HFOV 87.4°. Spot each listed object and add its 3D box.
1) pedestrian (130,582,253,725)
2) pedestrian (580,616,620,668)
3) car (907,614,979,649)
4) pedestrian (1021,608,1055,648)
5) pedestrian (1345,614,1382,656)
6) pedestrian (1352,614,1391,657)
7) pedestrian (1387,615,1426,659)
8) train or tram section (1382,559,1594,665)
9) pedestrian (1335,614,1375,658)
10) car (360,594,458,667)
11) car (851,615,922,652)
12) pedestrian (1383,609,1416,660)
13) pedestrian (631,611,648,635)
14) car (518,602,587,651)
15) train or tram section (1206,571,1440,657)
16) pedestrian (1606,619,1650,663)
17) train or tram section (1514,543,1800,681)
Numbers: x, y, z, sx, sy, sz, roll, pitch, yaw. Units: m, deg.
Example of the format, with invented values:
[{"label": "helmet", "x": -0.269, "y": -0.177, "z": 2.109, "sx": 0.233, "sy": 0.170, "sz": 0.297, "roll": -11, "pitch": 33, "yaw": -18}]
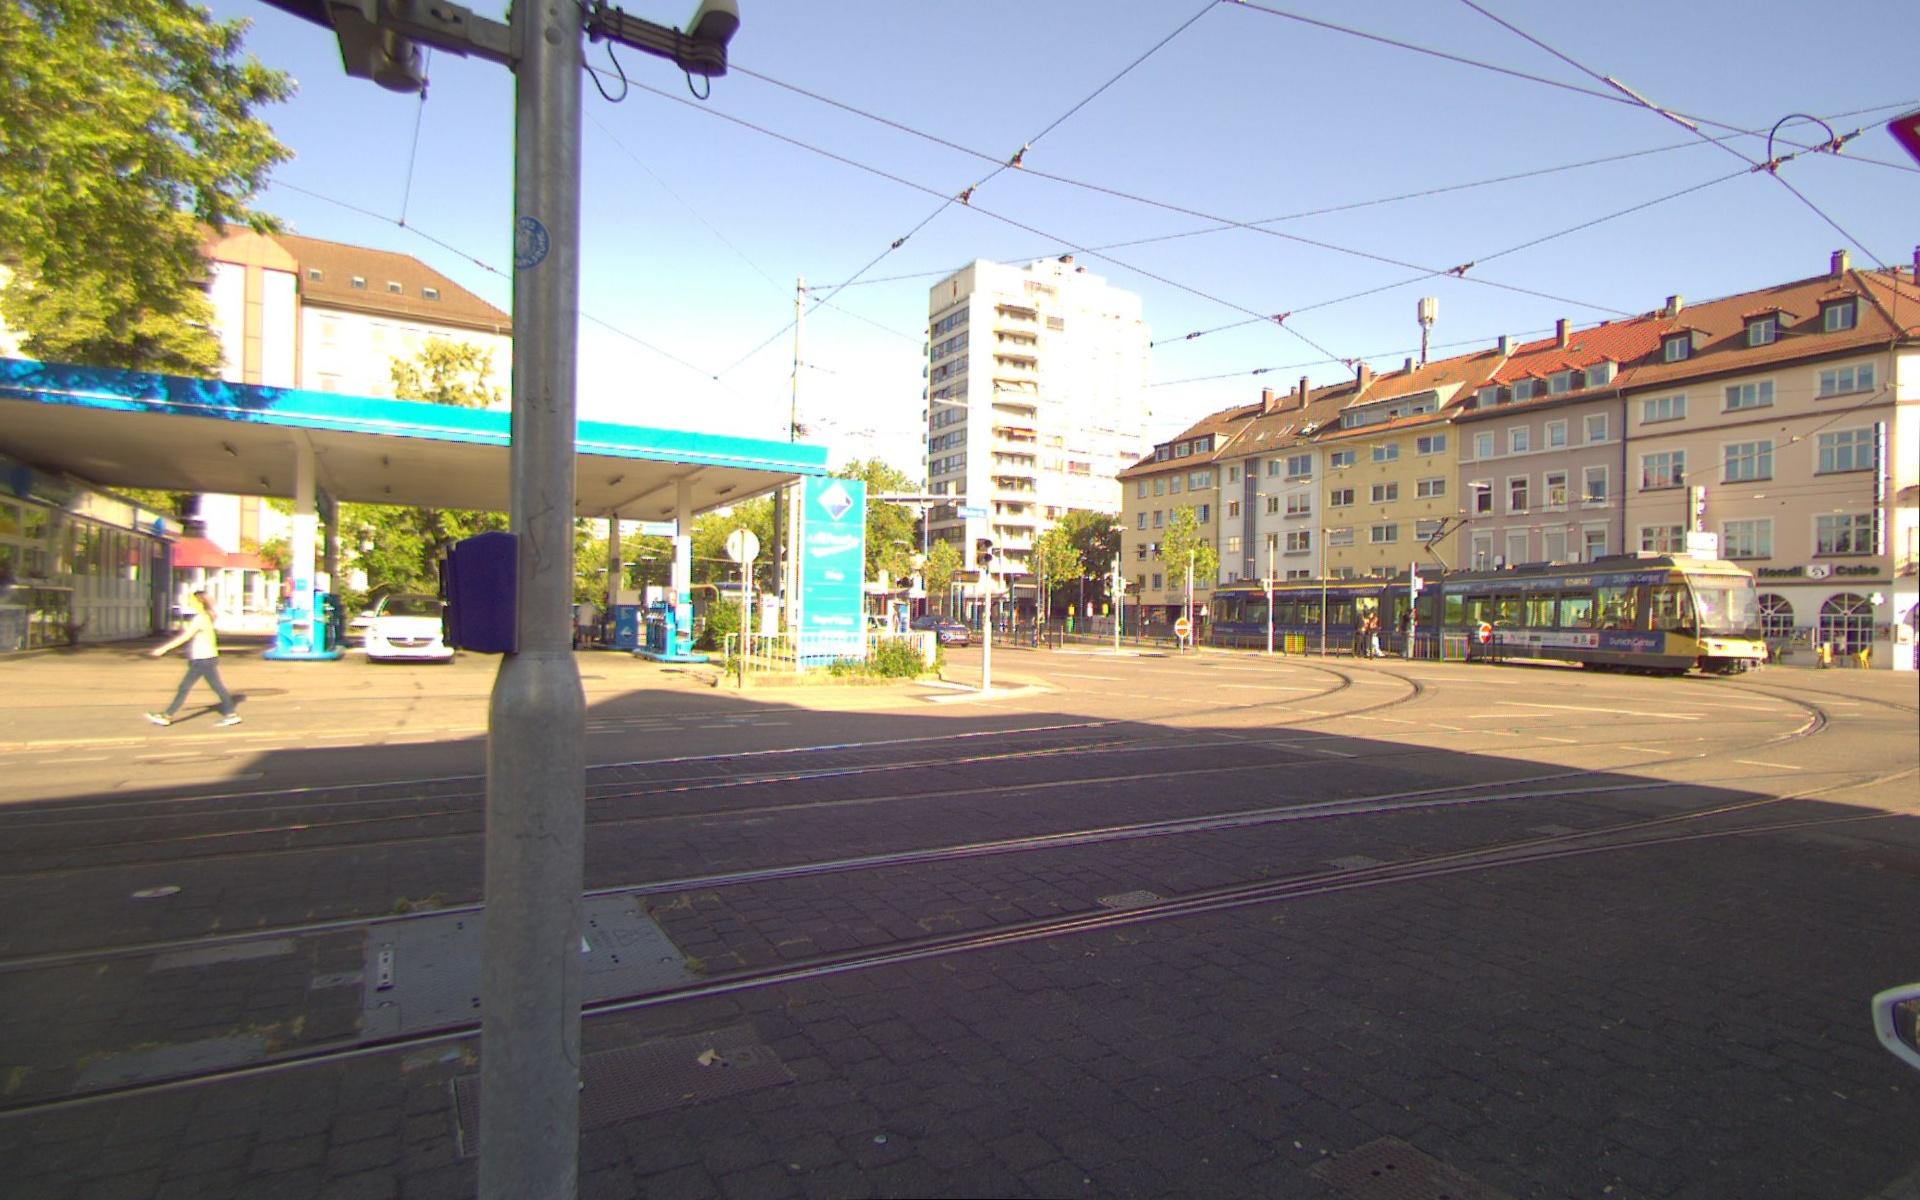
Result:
[{"label": "pedestrian", "x": -9.332, "y": 0.628, "z": 12.206, "sx": 1.099, "sy": 1.641, "sz": 0.706, "roll": 1, "pitch": -1, "yaw": -43}, {"label": "pedestrian", "x": -11.597, "y": 1.345, "z": 32.369, "sx": 1.145, "sy": 1.647, "sz": 0.809, "roll": 1, "pitch": -1, "yaw": -16}, {"label": "car", "x": -0.854, "y": 1.496, "z": 48.323, "sx": 1.863, "sy": 1.601, "sz": 3.971, "roll": 1, "pitch": -1, "yaw": -28}, {"label": "pedestrian", "x": 3.642, "y": 1.314, "z": 47.163, "sx": 1.156, "sy": 1.870, "sz": 1.098, "roll": 2, "pitch": -1, "yaw": -28}, {"label": "pedestrian", "x": 15.745, "y": 1.355, "z": 39.255, "sx": 0.925, "sy": 1.619, "sz": 1.007, "roll": 1, "pitch": -1, "yaw": -13}, {"label": "pedestrian", "x": 15.570, "y": 1.340, "z": 37.982, "sx": 0.995, "sy": 1.619, "sz": 0.936, "roll": 1, "pitch": -1, "yaw": -23}, {"label": "pedestrian", "x": 16.606, "y": 1.371, "z": 37.362, "sx": 0.924, "sy": 1.619, "sz": 1.008, "roll": 1, "pitch": -1, "yaw": -8}, {"label": "train or tram section", "x": 19.631, "y": 0.486, "z": 38.131, "sx": 2.771, "sy": 3.546, "sz": 8.452, "roll": 1, "pitch": -1, "yaw": -7}, {"label": "pedestrian", "x": 14.704, "y": 1.346, "z": 37.391, "sx": 0.993, "sy": 1.619, "sz": 0.938, "roll": 1, "pitch": -1, "yaw": -17}, {"label": "car", "x": -12.373, "y": 0.650, "z": 22.532, "sx": 1.760, "sy": 1.483, "sz": 3.968, "roll": 1, "pitch": -1, "yaw": -30}, {"label": "car", "x": -3.478, "y": 1.532, "z": 46.742, "sx": 1.863, "sy": 1.601, "sz": 3.971, "roll": 1, "pitch": -1, "yaw": -28}, {"label": "pedestrian", "x": 15.817, "y": 1.242, "z": 36.158, "sx": 0.925, "sy": 1.798, "sz": 1.007, "roll": 0, "pitch": -1, "yaw": 32}, {"label": "pedestrian", "x": -21.552, "y": 1.549, "z": 67.496, "sx": 0.908, "sy": 1.595, "sz": 0.958, "roll": 1, "pitch": -1, "yaw": -26}, {"label": "car", "x": -13.452, "y": 0.842, "z": 33.021, "sx": 1.725, "sy": 1.431, "sz": 4.061, "roll": 5, "pitch": -2, "yaw": -26}, {"label": "train or tram section", "x": 16.565, "y": 0.657, "z": 47.323, "sx": 2.742, "sy": 3.546, "sz": 11.954, "roll": 1, "pitch": -1, "yaw": -25}, {"label": "pedestrian", "x": 26.645, "y": 1.615, "z": 40.071, "sx": 1.091, "sy": 1.707, "sz": 1.075, "roll": 1, "pitch": -1, "yaw": -30}, {"label": "train or tram section", "x": 20.357, "y": 0.371, "z": 30.134, "sx": 2.769, "sy": 3.546, "sz": 7.960, "roll": 1, "pitch": -1, "yaw": -3}]
